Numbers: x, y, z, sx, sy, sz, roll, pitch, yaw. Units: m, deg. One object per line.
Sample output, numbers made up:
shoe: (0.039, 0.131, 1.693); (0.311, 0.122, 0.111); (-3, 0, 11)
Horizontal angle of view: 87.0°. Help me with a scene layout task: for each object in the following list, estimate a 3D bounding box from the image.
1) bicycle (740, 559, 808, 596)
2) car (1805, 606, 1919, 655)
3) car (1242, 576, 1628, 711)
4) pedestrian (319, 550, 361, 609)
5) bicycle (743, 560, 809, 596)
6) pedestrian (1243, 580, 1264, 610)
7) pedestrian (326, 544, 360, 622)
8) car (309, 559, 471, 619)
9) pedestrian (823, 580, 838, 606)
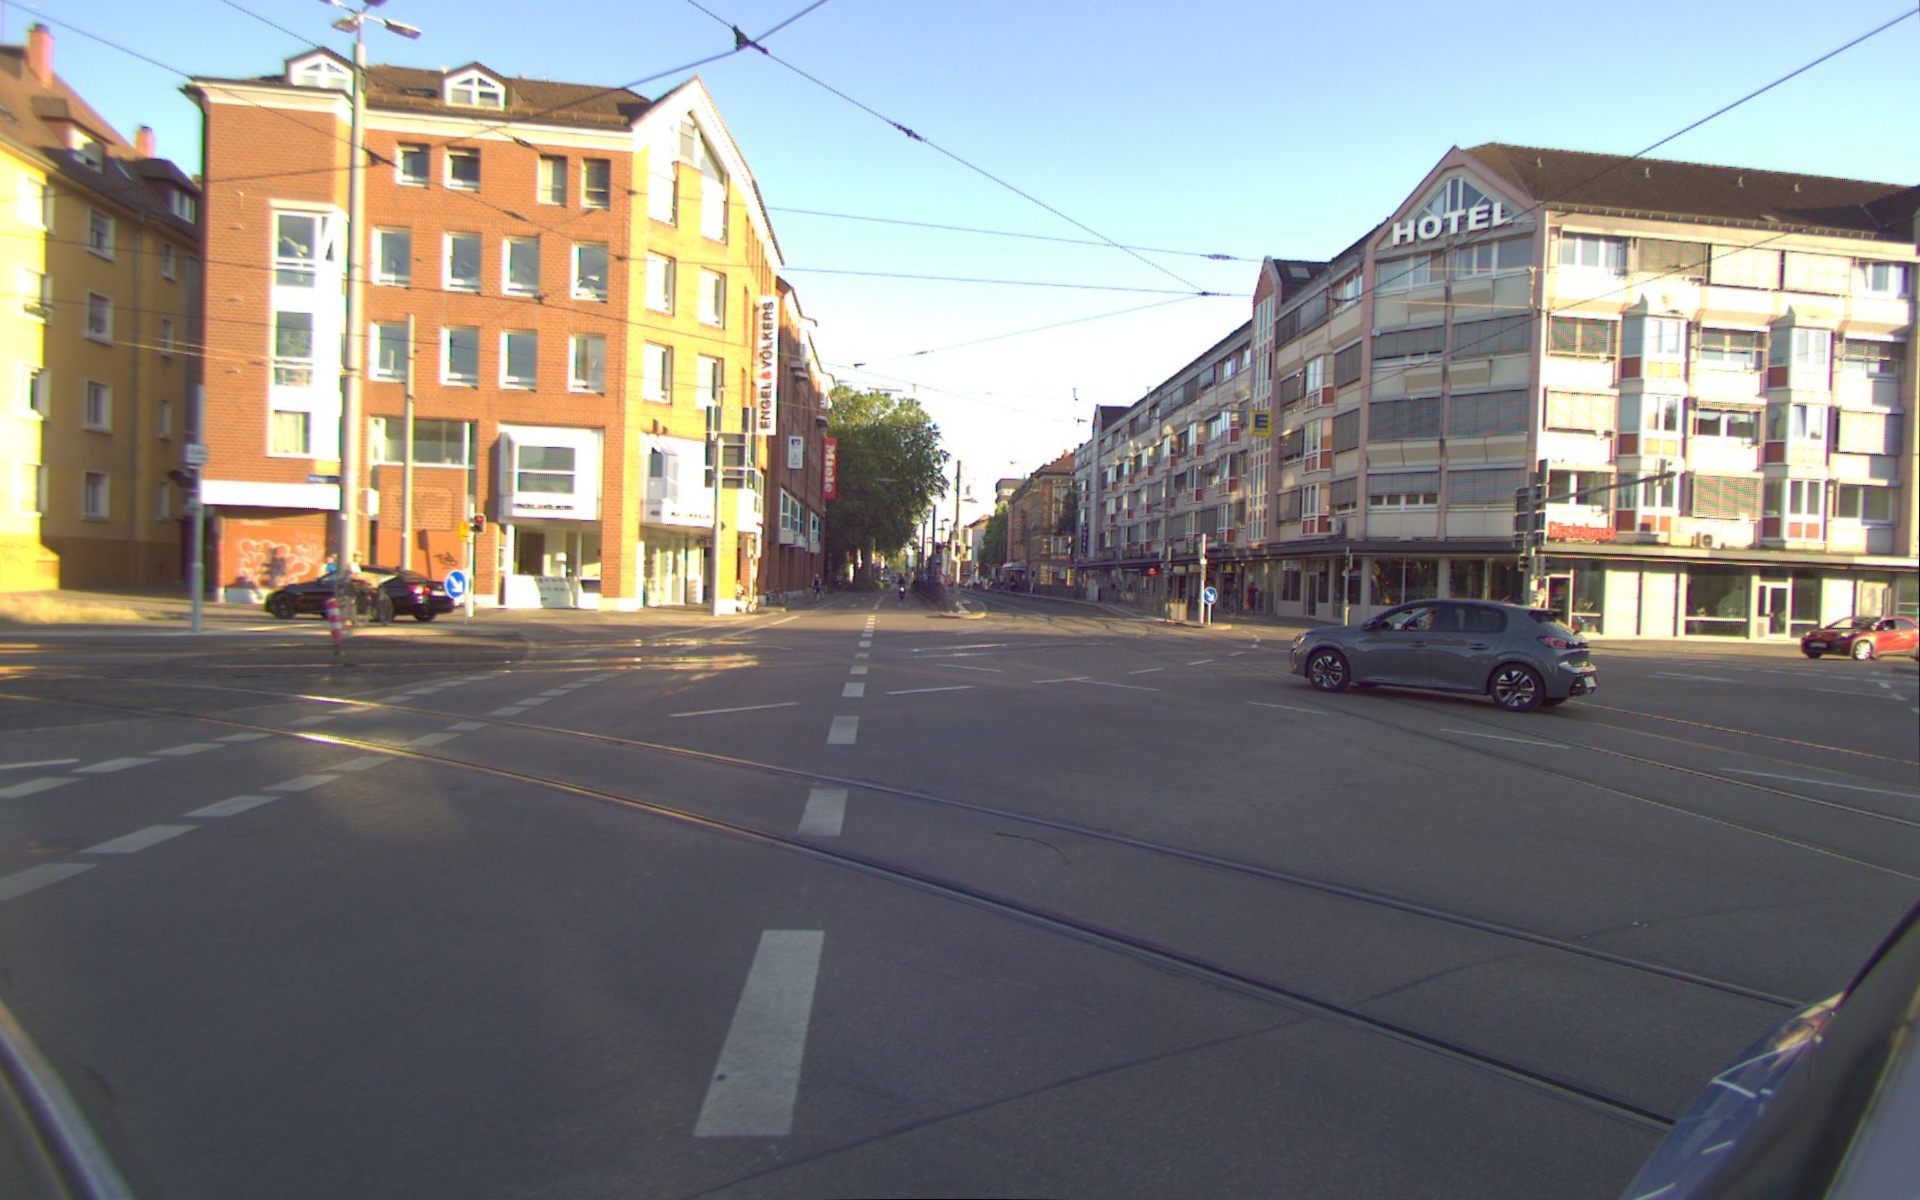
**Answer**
bicycle: (-9.374, -1.146, 51.125); (3.242, 1.747, 1.070); (2, 1, -4)
car: (29.980, 0.989, 32.937); (3.816, 1.439, 1.652); (2, 1, -9)
car: (6.696, 0.493, 14.687); (1.886, 1.522, 4.691); (0, 2, -44)
pedestrian: (-19.400, -0.656, 31.699); (0.855, 1.800, 0.919); (1, 1, -13)
bicycle: (-9.463, -1.156, 52.292); (3.241, 1.747, 1.071); (2, 1, -5)
pedestrian: (16.014, -0.271, 55.197); (0.693, 1.567, 0.909); (3, 4, -7)
pedestrian: (-13.818, -0.380, 22.678); (0.505, 1.729, 0.420); (1, 1, -7)
car: (-15.432, -0.324, 27.365); (4.251, 1.513, 1.830); (1, 1, 28)
pedestrian: (-10.472, -0.567, 81.796); (1.066, 2.038, 1.086); (1, 1, -9)
